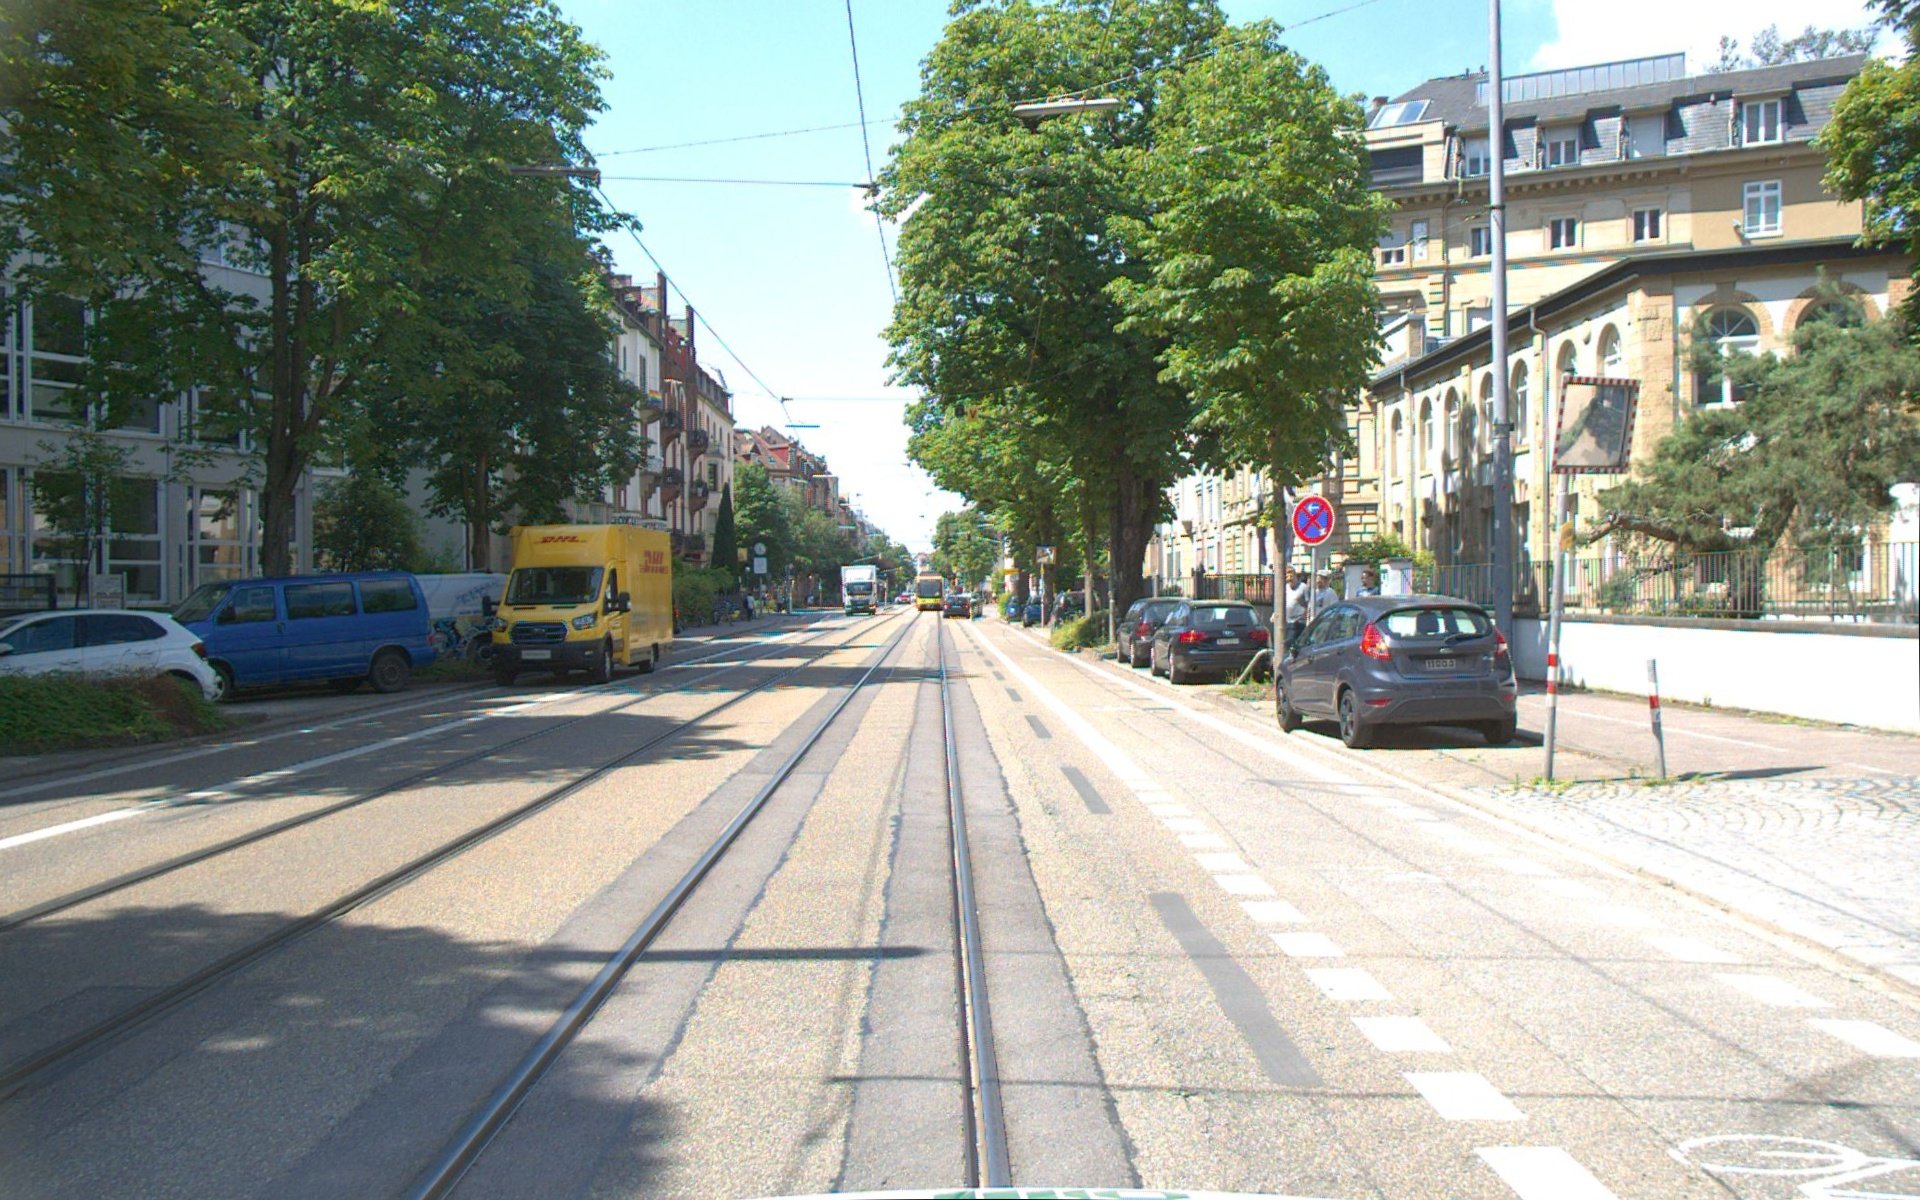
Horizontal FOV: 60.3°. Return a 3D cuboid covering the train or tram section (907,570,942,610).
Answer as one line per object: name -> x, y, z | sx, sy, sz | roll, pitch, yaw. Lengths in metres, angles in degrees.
train or tram section -> -3.183, -0.946, 152.428 | 2.973, 3.498, 11.969 | -1, 0, 0

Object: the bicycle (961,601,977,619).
bicycle -> 0.514, 0.558, 93.658 | 0.625, 0.986, 1.782 | 1, -1, 8

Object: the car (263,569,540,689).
car -> -10.904, 0.522, 32.483 | 4.719, 2.098, 1.997 | -2, 0, -40

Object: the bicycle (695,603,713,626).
bicycle -> -11.527, 0.647, 74.475 | 0.532, 0.986, 1.990 | 1, 1, 0

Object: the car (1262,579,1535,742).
car -> 4.509, 0.579, 17.579 | 1.607, 1.511, 3.869 | -1, 0, -4

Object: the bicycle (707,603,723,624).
bicycle -> -11.904, 0.659, 80.352 | 0.532, 0.986, 1.781 | 1, 1, -1

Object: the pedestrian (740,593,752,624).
pedestrian -> -11.404, 0.430, 88.106 | 0.561, 1.644, 0.816 | -1, 0, -1

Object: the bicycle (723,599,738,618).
bicycle -> -12.024, 0.431, 86.584 | 0.532, 0.986, 1.780 | 1, 0, -1

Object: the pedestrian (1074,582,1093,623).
pedestrian -> 5.776, 0.132, 77.454 | 0.792, 1.892, 0.576 | 0, -2, -3

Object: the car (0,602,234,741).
car -> -10.987, 0.867, 19.611 | 1.730, 1.458, 3.979 | -3, 0, 41

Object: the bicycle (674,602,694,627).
bicycle -> -11.536, 0.610, 69.169 | 0.532, 0.986, 1.989 | 1, -1, 0

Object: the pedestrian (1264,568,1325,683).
pedestrian -> 5.618, 0.417, 27.806 | 0.570, 1.892, 0.800 | -1, 0, -37

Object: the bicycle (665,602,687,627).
bicycle -> -11.508, 0.577, 67.095 | 0.532, 0.986, 1.989 | 1, 0, 0

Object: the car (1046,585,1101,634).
car -> 3.974, 0.330, 58.514 | 1.560, 1.645, 3.906 | -1, 0, -2

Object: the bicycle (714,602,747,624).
bicycle -> -10.699, 0.596, 77.151 | 0.532, 0.986, 1.778 | 0, -2, 28

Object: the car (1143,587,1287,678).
car -> 4.526, 0.553, 29.999 | 1.838, 1.480, 4.527 | -1, 0, -1

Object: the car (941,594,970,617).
car -> -0.280, 0.320, 103.741 | 1.745, 1.369, 3.415 | -1, 0, -1

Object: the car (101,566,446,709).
car -> -10.773, 0.522, 26.233 | 1.815, 1.989, 4.701 | -2, 0, 43

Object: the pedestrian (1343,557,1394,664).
pedestrian -> 6.821, 0.179, 27.638 | 0.473, 1.767, 0.612 | -1, -1, -37

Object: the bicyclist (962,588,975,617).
bicyclist -> 0.508, 0.131, 93.737 | 0.609, 1.644, 0.865 | 1, -2, 7

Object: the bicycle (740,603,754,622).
bicycle -> -11.747, 0.695, 91.110 | 0.532, 0.986, 1.781 | 1, 1, -1

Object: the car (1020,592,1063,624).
car -> 3.789, 0.366, 77.745 | 1.676, 1.448, 4.308 | -1, 0, -2

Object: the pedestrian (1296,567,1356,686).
pedestrian -> 5.901, 0.424, 26.708 | 0.570, 1.892, 0.717 | -1, 0, -37

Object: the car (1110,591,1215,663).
car -> 4.386, 0.563, 36.374 | 1.676, 1.448, 4.242 | -1, 0, -2

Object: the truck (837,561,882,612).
truck -> -7.502, -1.030, 124.357 | 2.880, 3.612, 8.451 | -1, 0, -1

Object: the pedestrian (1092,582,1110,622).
pedestrian -> 6.638, 0.093, 77.915 | 0.792, 1.892, 0.623 | 0, -2, -3

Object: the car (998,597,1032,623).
car -> 3.160, 0.562, 95.930 | 1.676, 1.448, 4.308 | -1, 0, -2

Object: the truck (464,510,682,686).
truck -> -7.158, -0.068, 31.626 | 2.312, 2.902, 7.378 | -1, 0, 1
